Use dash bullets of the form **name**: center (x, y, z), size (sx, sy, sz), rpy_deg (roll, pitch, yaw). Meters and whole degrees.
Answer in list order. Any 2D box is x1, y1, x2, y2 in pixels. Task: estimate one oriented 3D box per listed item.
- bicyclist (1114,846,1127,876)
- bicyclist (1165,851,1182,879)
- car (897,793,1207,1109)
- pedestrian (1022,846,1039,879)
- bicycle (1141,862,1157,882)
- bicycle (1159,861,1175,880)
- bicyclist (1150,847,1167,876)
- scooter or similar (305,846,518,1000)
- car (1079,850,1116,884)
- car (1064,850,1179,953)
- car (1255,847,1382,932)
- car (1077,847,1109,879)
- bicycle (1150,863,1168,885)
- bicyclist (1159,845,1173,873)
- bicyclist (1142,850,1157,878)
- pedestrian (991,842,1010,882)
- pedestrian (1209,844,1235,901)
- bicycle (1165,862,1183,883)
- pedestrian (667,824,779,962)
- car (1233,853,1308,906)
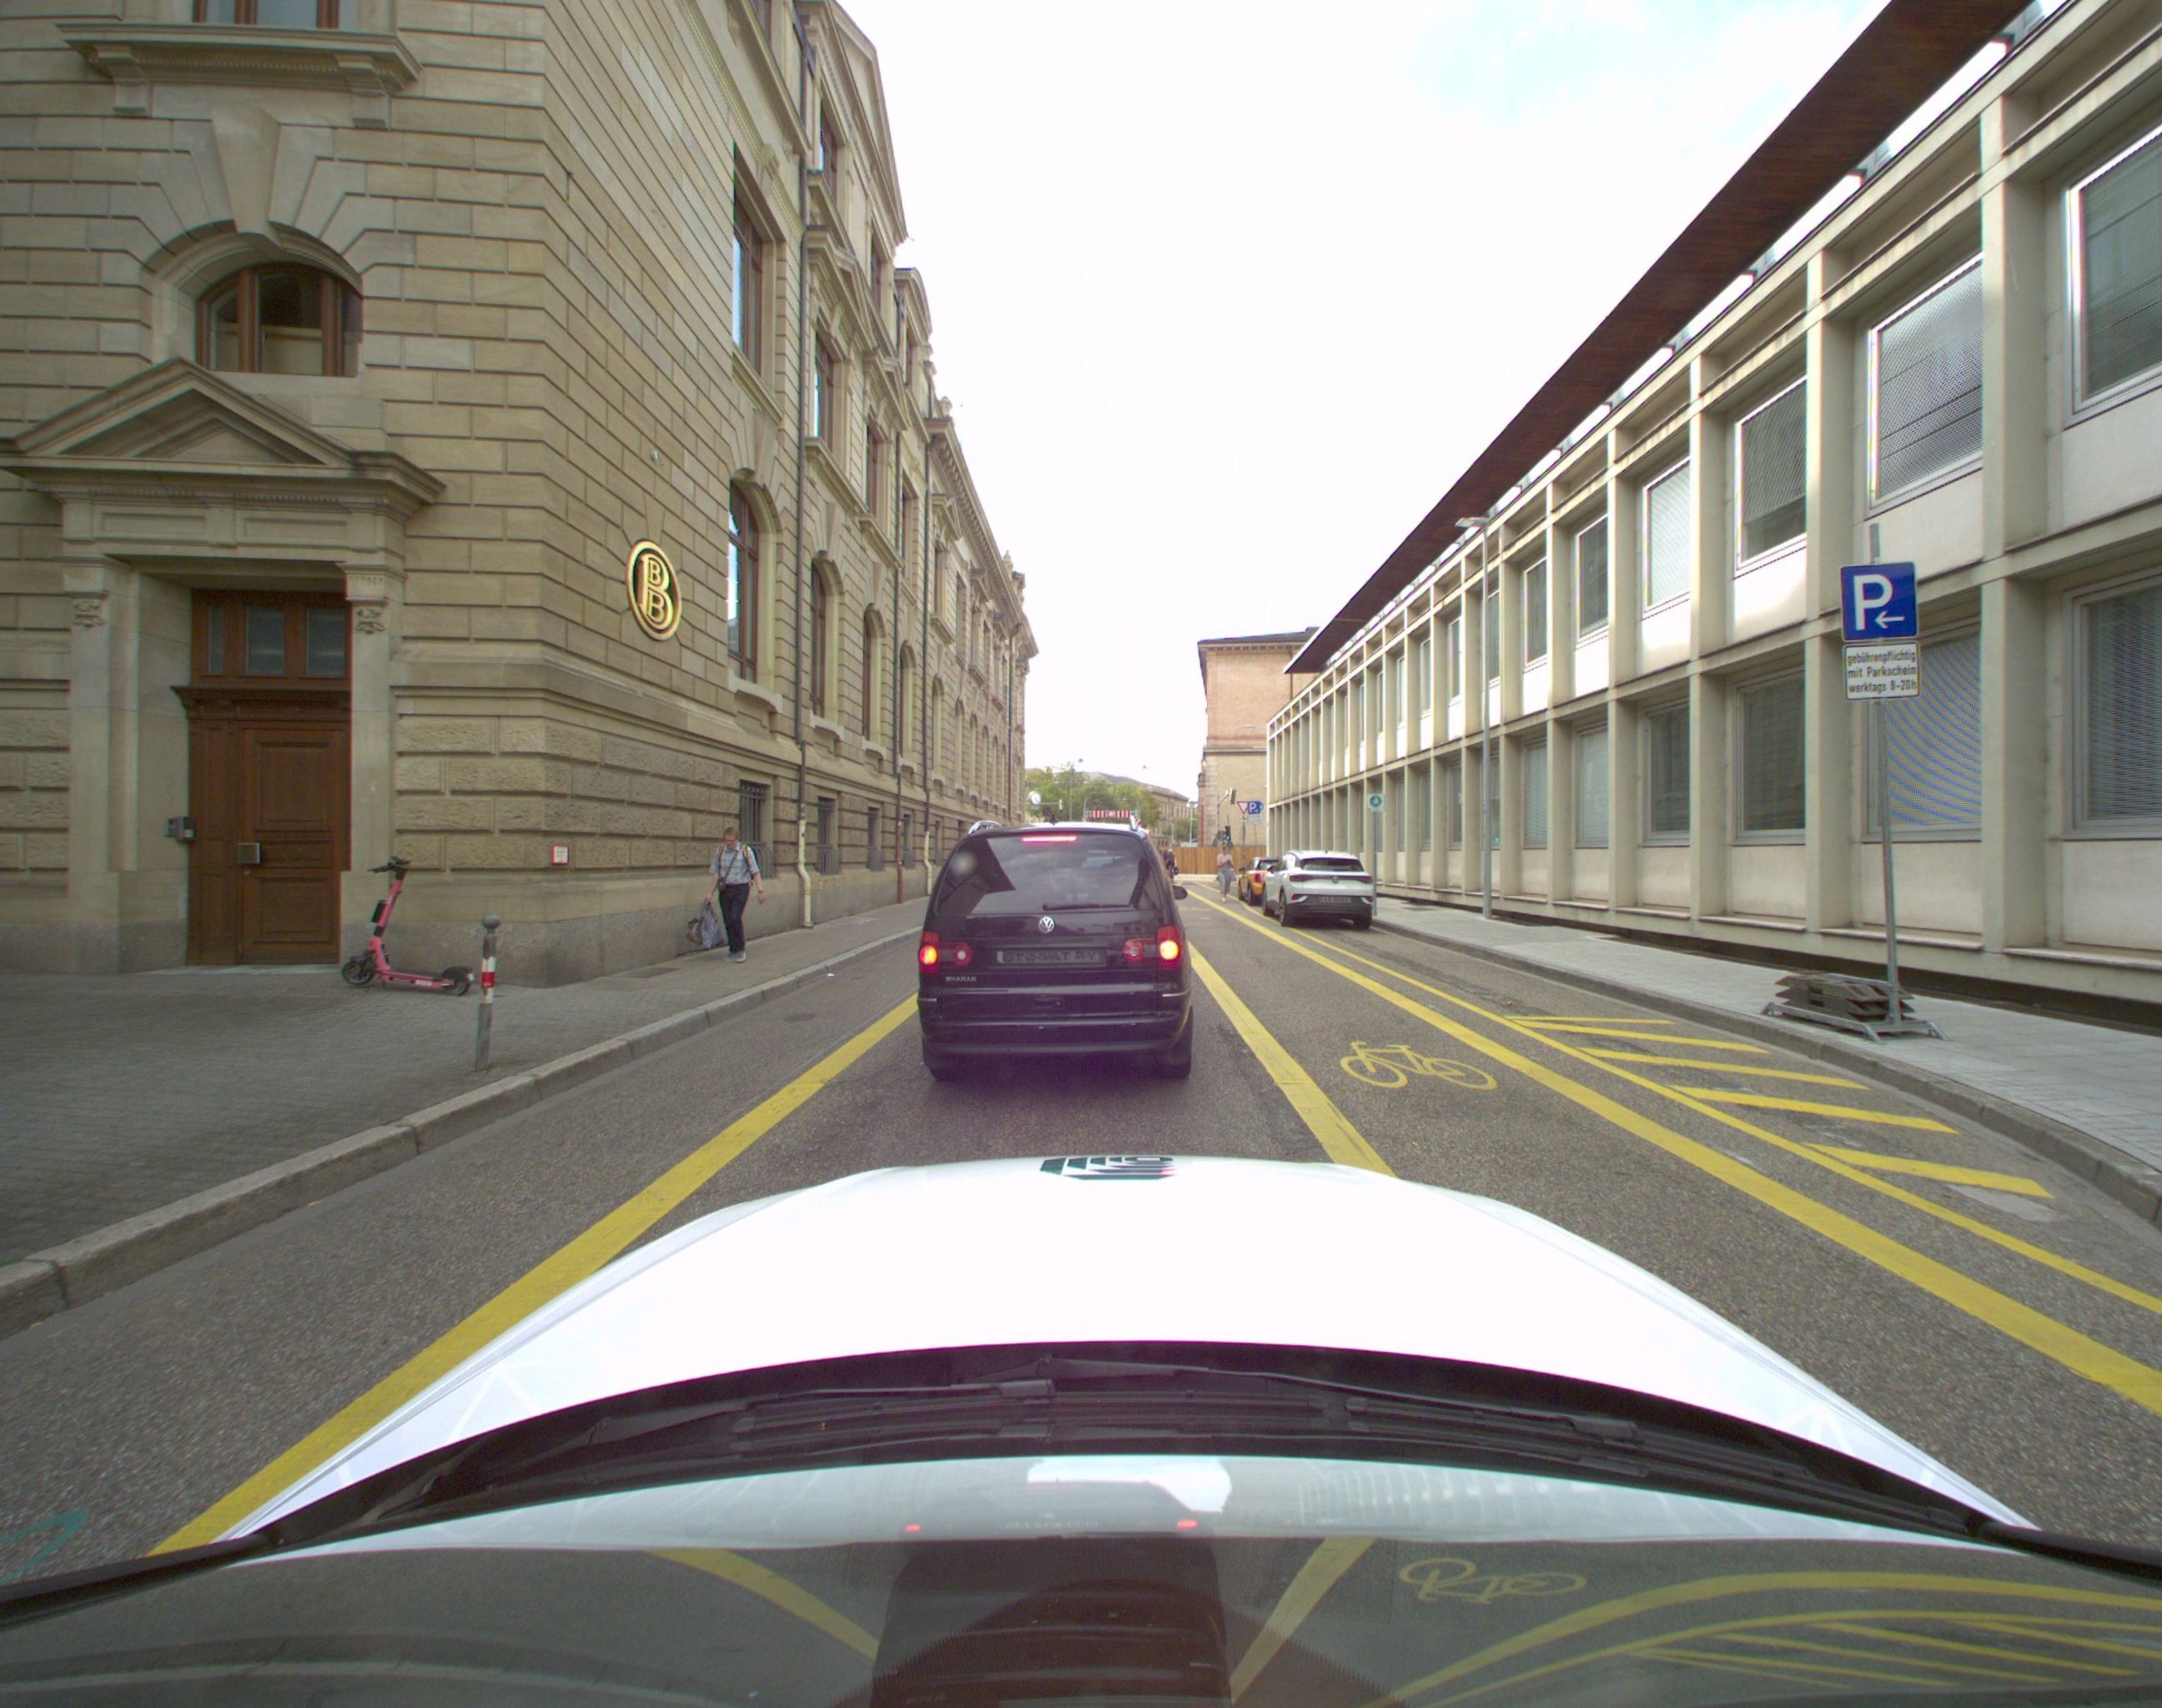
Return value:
- **bicyclist**: center (2.155, 0.398, 44.437), size (0.732, 1.611, 0.695), rpy_deg (0, -1, 1)
- **bicyclist**: center (4.613, 0.555, 40.625), size (0.732, 1.375, 0.832), rpy_deg (0, -1, 1)
- **car**: center (-0.007, 0.560, 6.725), size (1.781, 1.790, 4.108), rpy_deg (0, 0, 5)
- **pedestrian**: center (-2.801, 0.462, 45.015), size (0.789, 1.819, 1.048), rpy_deg (2, -1, 2)
- **bicycle**: center (3.658, 0.944, 43.695), size (0.732, 1.009, 2.069), rpy_deg (0, -1, 2)
- **bicycle**: center (4.818, 0.905, 45.831), size (0.732, 1.009, 2.069), rpy_deg (0, -1, 2)
- **bicyclist**: center (3.662, 0.349, 38.498), size (0.732, 1.377, 0.829), rpy_deg (0, -1, 1)
- **scooter or similar**: center (-6.183, 0.614, 7.566), size (1.441, 1.310, 0.587), rpy_deg (3, 1, 0)
- **car**: center (0.837, 0.636, 40.396), size (1.766, 1.586, 4.001), rpy_deg (0, -1, 2)
- **car**: center (0.752, 0.698, 13.834), size (1.670, 1.469, 4.108), rpy_deg (0, 0, 5)
- **car**: center (5.229, 0.712, 18.524), size (1.851, 1.605, 4.518), rpy_deg (3, 0, 5)
- **car**: center (0.657, 0.521, 47.410), size (1.729, 1.790, 4.101), rpy_deg (0, 0, -1)
- **bicycle**: center (3.656, 0.913, 38.298), size (0.732, 1.009, 2.069), rpy_deg (0, -1, 2)
- **bicyclist**: center (4.788, 0.262, 45.837), size (0.732, 1.555, 0.896), rpy_deg (0, -1, 1)
- **bicyclist**: center (3.664, 0.536, 43.723), size (0.732, 1.470, 0.809), rpy_deg (0, -1, 1)
- **pedestrian**: center (-3.707, 0.361, 37.557), size (0.661, 1.819, 1.048), rpy_deg (2, -1, 2)
- **pedestrian**: center (4.441, 0.579, 25.619), size (0.701, 1.764, 0.700), rpy_deg (0, -1, 1)
- **bicycle**: center (4.612, 0.912, 40.637), size (0.732, 1.009, 2.069), rpy_deg (0, -1, 2)
- **pedestrian**: center (-4.688, 0.494, 10.722), size (1.022, 1.720, 0.819), rpy_deg (2, -1, 1)
- **car**: center (5.753, 0.746, 25.139), size (1.672, 1.435, 3.891), rpy_deg (3, 0, 5)
